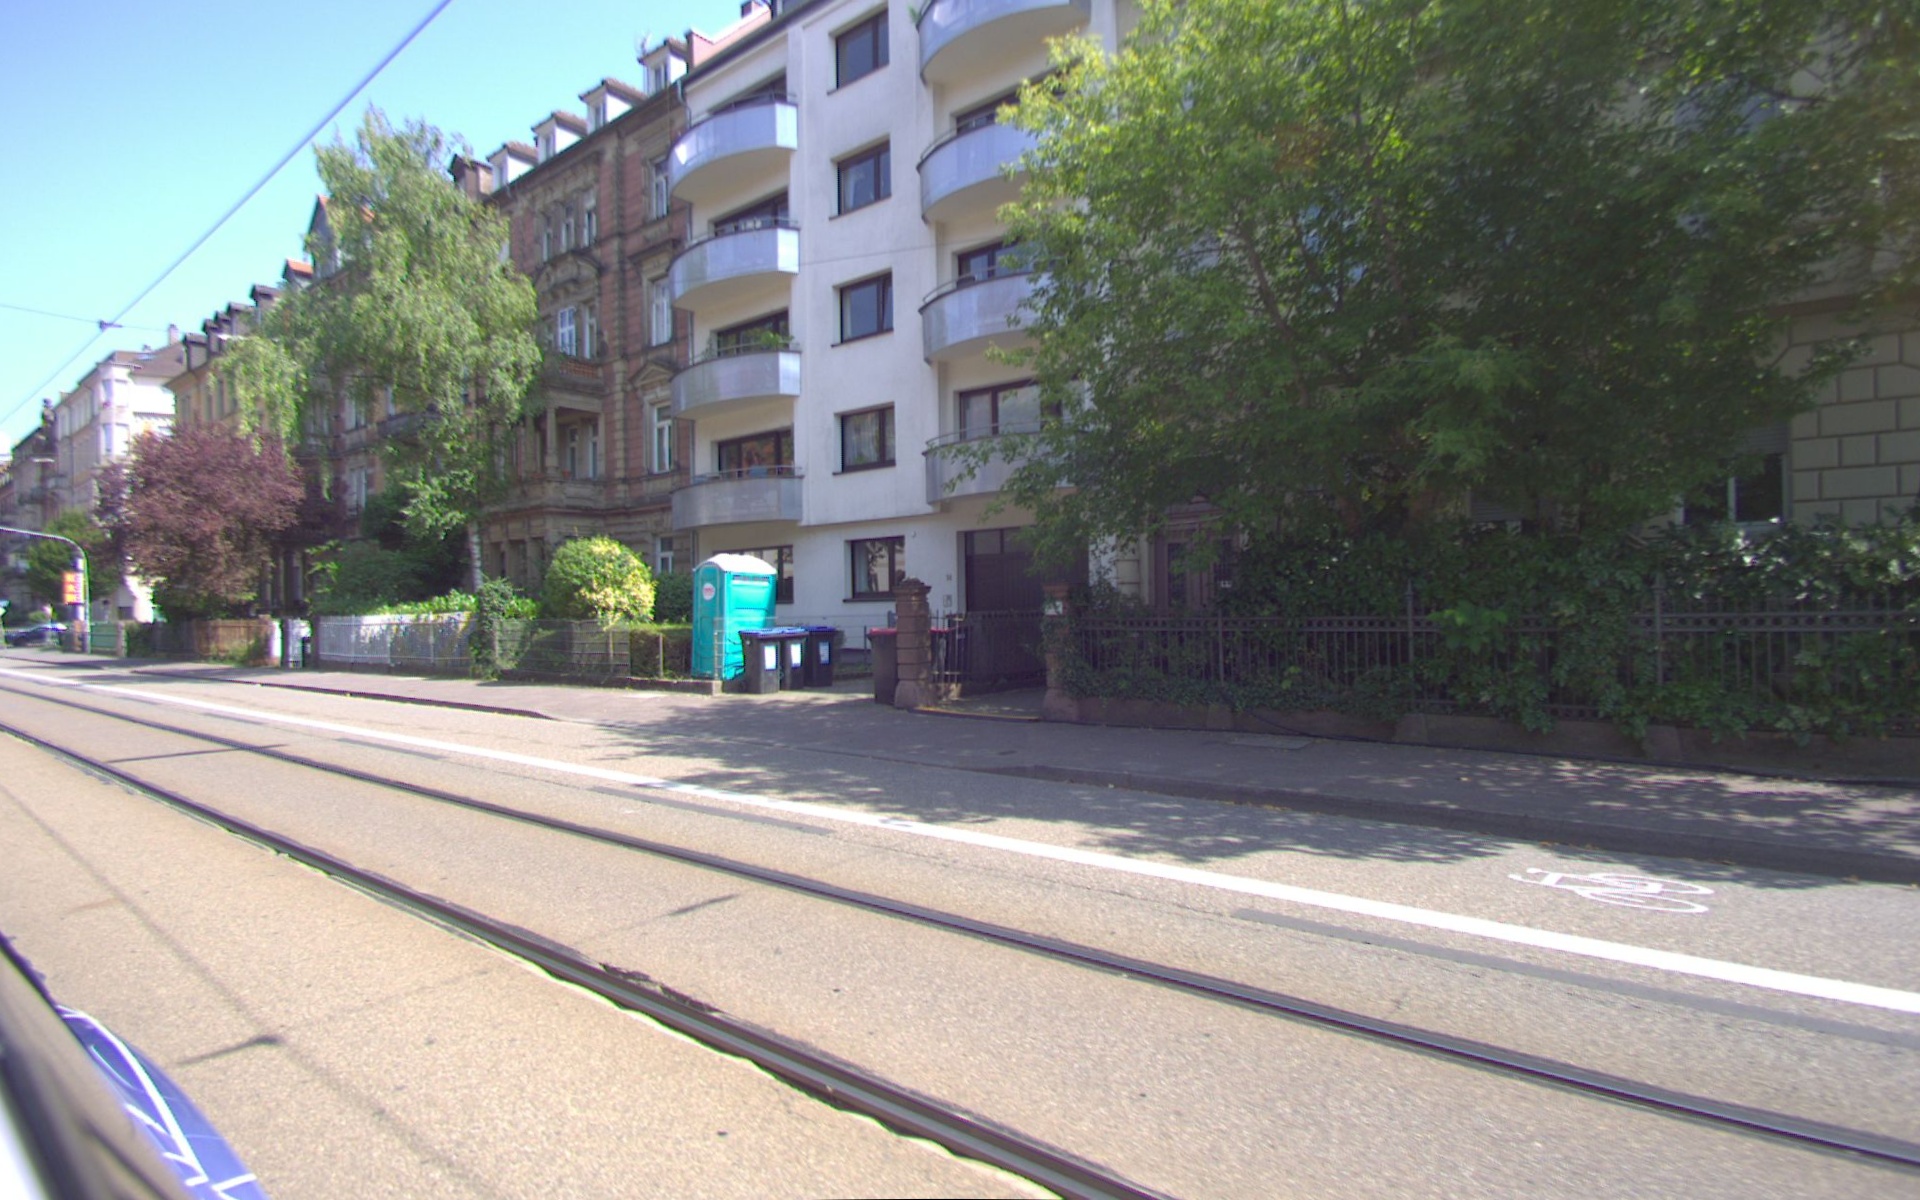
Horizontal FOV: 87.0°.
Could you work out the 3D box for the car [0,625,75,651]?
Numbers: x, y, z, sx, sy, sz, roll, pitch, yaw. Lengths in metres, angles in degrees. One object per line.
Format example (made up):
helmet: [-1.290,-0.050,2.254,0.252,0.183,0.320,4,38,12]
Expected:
car: [-65.399,2.675,71.510,1.878,1.606,4.059,-2,0,41]

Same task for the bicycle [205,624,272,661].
bicycle: [-25.405,1.478,35.646,0.716,1.191,1.793,-2,0,42]

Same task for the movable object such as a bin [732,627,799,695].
movable object such as a bin: [-3.282,1.015,17.108,0.754,1.084,0.779,-2,0,38]

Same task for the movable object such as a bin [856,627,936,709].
movable object such as a bin: [-0.905,0.944,14.358,0.803,1.084,0.778,-2,0,43]

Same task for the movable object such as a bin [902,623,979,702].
movable object such as a bin: [-0.292,0.899,14.937,0.803,1.084,0.778,-2,0,43]

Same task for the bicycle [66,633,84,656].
bicycle: [-43.060,2.174,49.238,1.566,1.107,0.386,-2,-1,38]
